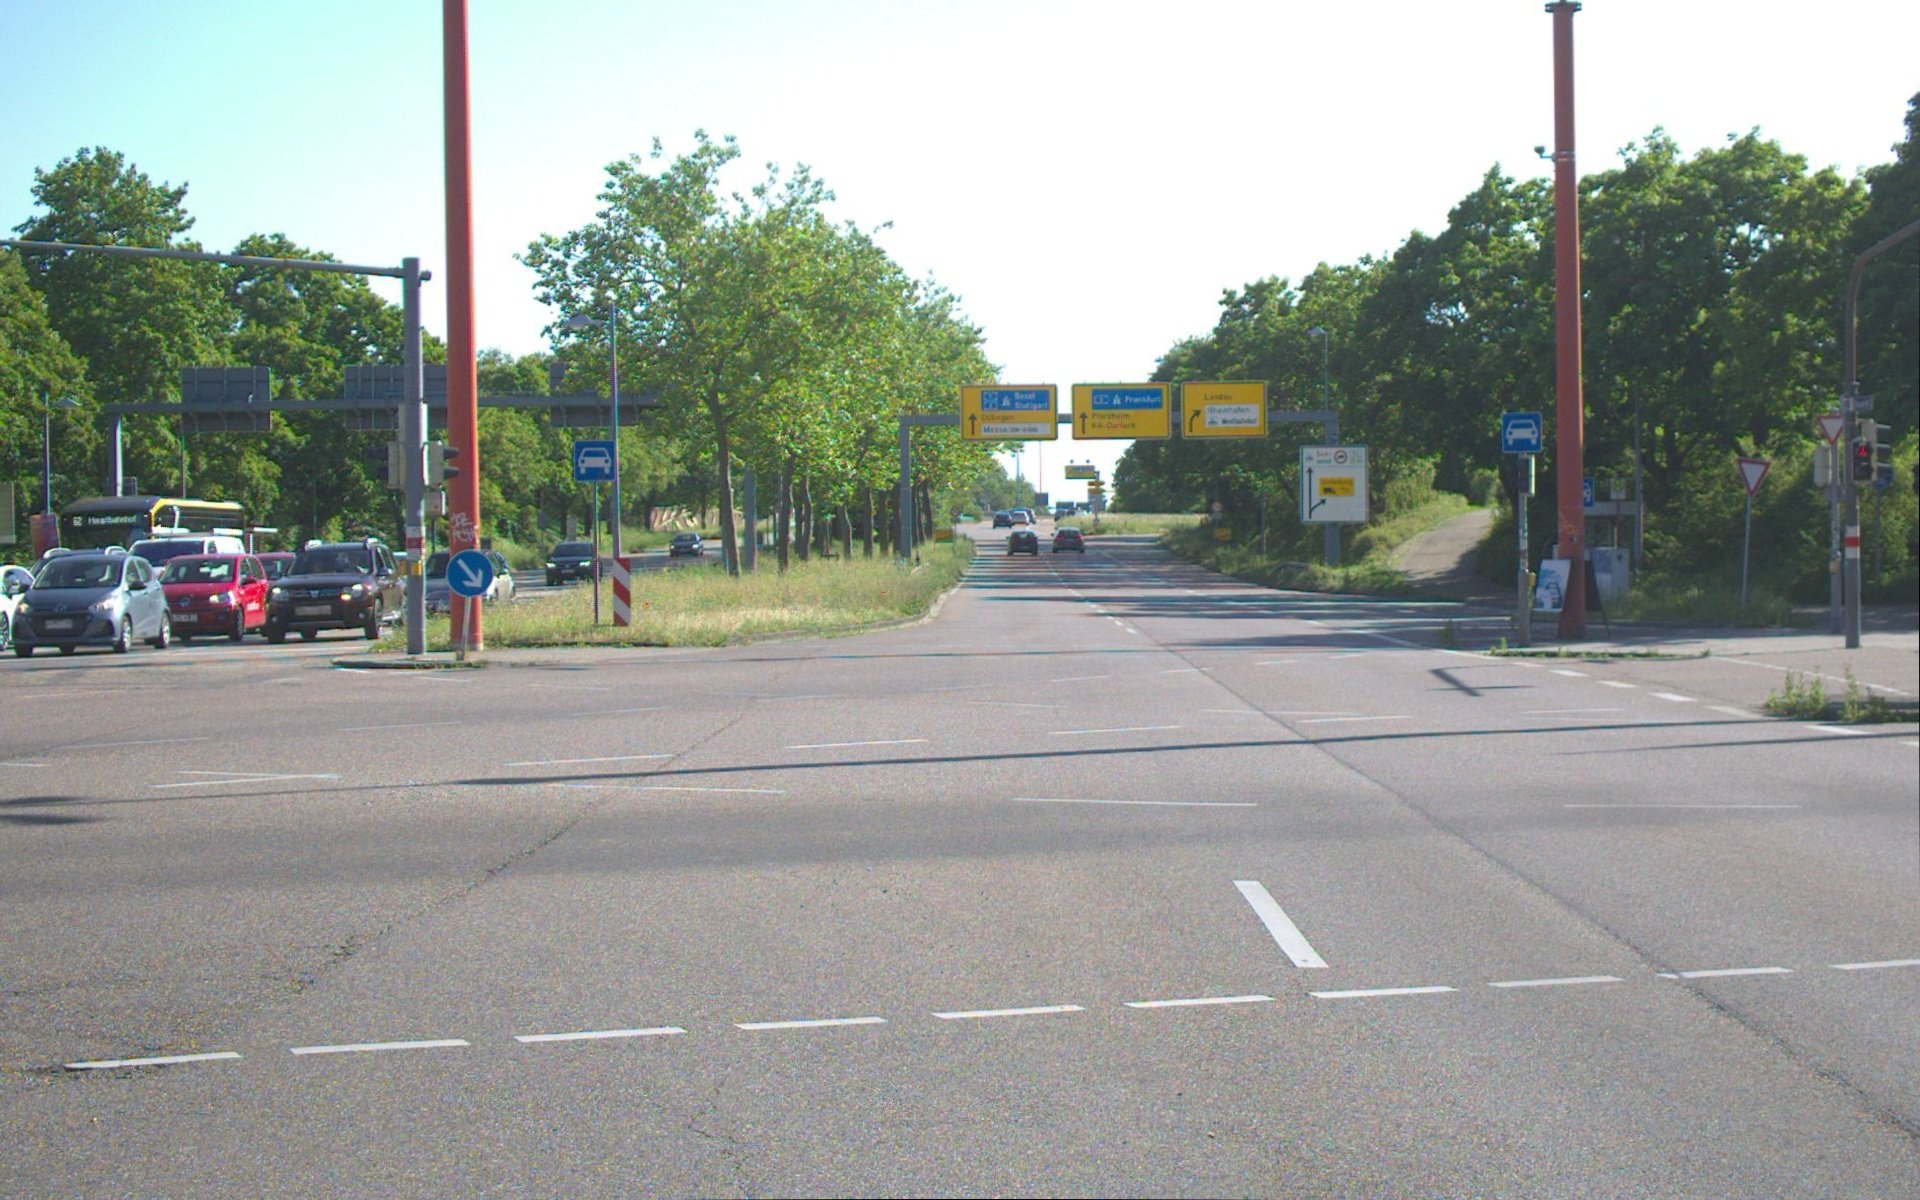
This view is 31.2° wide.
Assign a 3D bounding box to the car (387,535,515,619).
[{"bbox_3d":[-9.881,-0.469,66.980,1.885,1.538,4.000,-2,1,-1],"label":"car"}]

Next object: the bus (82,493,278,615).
[{"bbox_3d":[-22.230,-1.311,98.801,2.646,3.250,12.536,1,1,1],"label":"bus"}]

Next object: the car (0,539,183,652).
[{"bbox_3d":[-13.218,-0.099,52.294,1.874,1.545,4.028,-2,1,-1],"label":"car"}]

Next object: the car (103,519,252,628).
[{"bbox_3d":[-16.066,-0.568,70.833,1.961,2.147,5.082,-1,1,-1],"label":"car"}]

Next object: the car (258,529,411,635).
[{"bbox_3d":[-10.212,-0.328,56.369,1.793,1.620,4.144,-2,1,-1],"label":"car"}]

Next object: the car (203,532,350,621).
[{"bbox_3d":[-12.804,-0.454,64.628,1.901,1.624,4.000,0,1,1],"label":"car"}]

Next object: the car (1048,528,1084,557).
[{"bbox_3d":[6.392,-3.448,207.311,1.993,1.727,4.000,1,1,-1],"label":"car"}]

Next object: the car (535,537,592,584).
[{"bbox_3d":[-15.638,-1.570,135.687,1.837,1.831,3.961,-1,1,-1],"label":"car"}]

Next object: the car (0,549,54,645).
[{"bbox_3d":[-16.531,-0.050,57.285,1.901,1.549,4.000,-2,1,-2],"label":"car"}]

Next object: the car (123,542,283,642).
[{"bbox_3d":[-12.866,-0.158,58.632,1.875,1.547,4.000,-4,1,-2],"label":"car"}]

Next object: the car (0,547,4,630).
[{"bbox_3d":[-19.990,-0.197,66.808,1.778,1.646,3.974,-3,0,-2],"label":"car"}]

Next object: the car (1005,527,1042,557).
[{"bbox_3d":[3.671,-3.358,199.747,1.993,1.727,4.000,1,1,-1],"label":"car"}]
